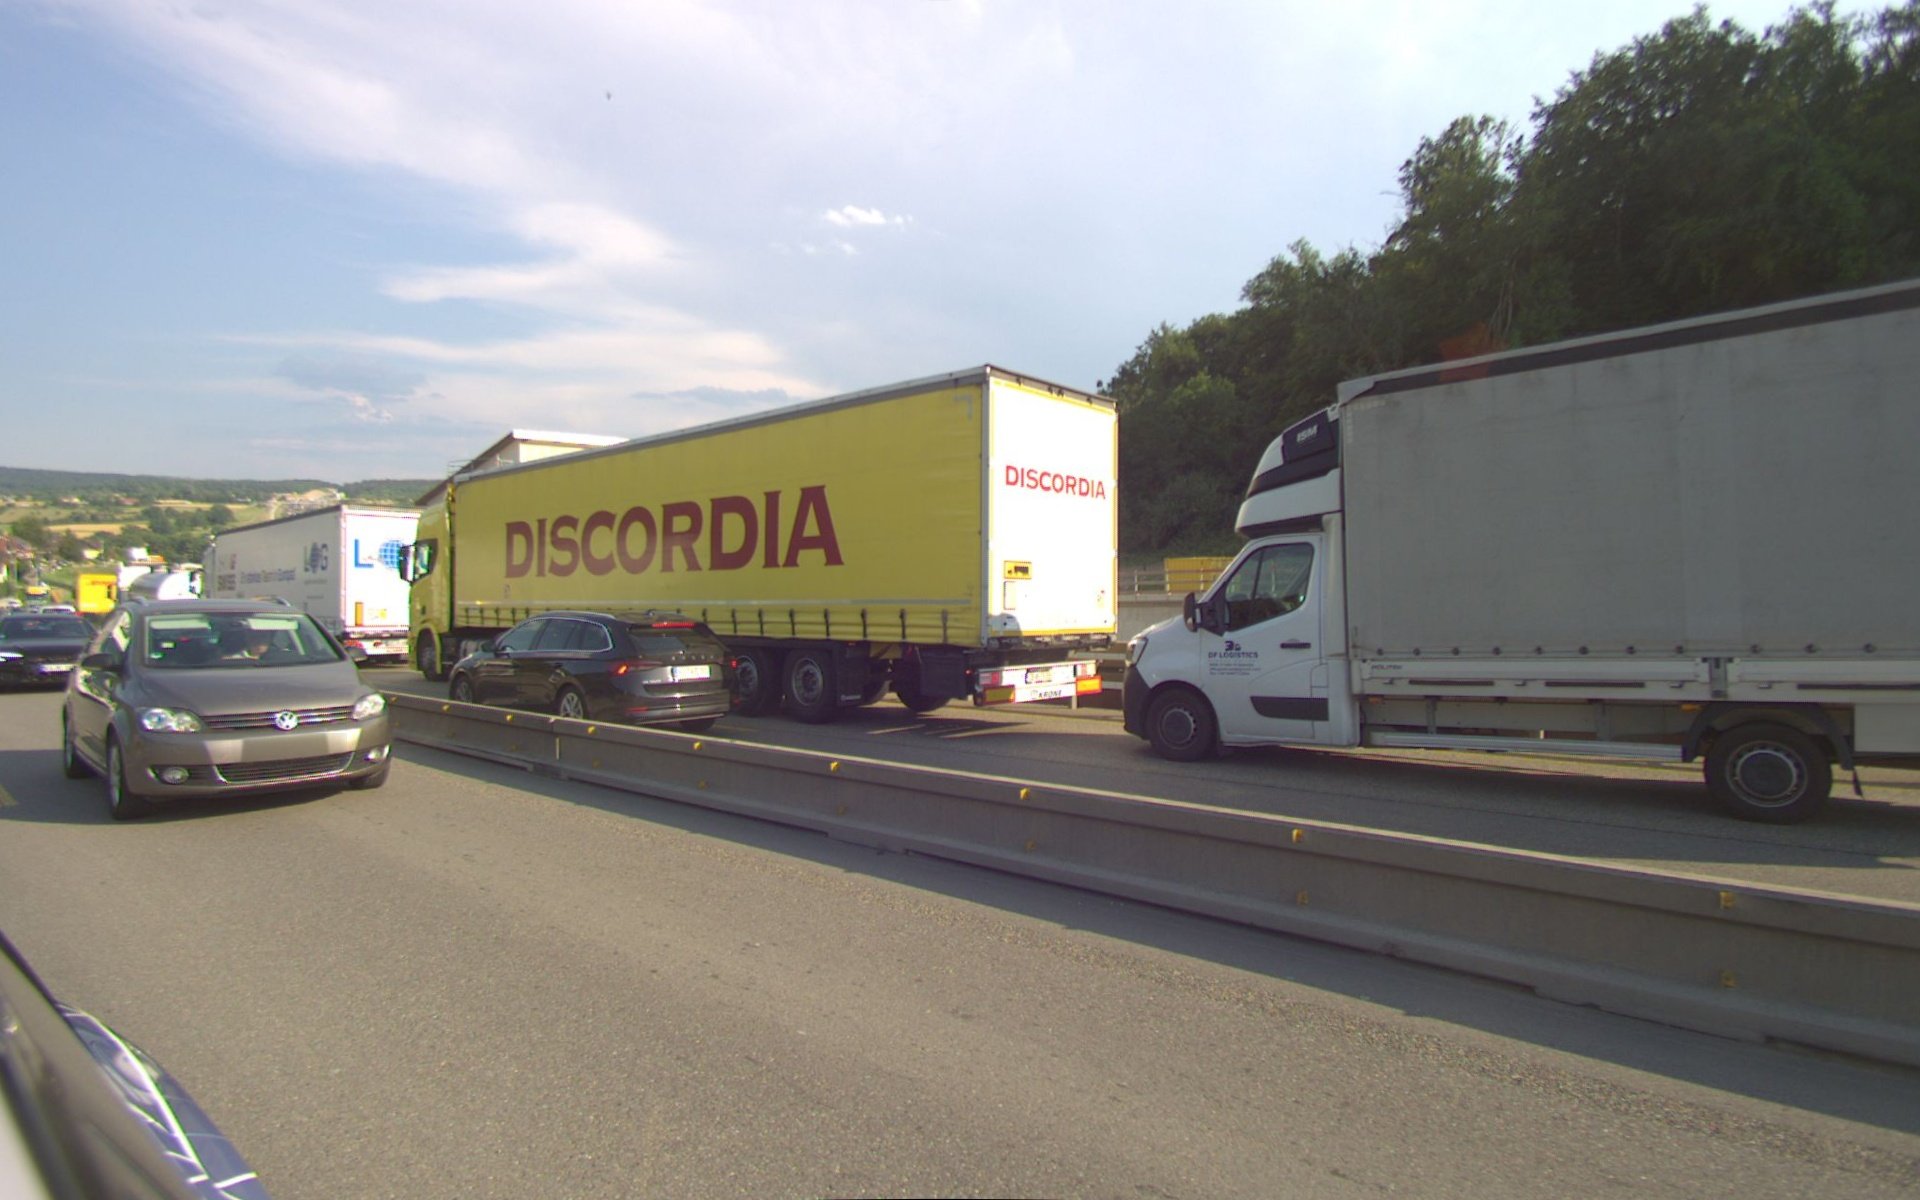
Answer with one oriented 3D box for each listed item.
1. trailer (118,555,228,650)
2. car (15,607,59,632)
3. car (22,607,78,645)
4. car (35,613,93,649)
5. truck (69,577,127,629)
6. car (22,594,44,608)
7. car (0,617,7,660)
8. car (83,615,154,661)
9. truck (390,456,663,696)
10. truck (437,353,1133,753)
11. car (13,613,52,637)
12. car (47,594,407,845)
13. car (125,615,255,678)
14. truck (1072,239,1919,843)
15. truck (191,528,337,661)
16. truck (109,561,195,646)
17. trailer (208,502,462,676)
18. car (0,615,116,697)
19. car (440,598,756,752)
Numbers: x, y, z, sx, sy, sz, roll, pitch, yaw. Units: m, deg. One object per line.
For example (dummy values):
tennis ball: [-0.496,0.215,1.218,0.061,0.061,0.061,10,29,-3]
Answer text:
trailer: [-36.135,0.140,46.263,10.581,3.910,2.568,-1,-1,44]
car: [-57.050,1.218,62.535,1.773,1.423,4.003,5,-3,-44]
car: [-48.076,1.358,53.448,4.001,1.925,1.842,0,-1,44]
car: [-40.374,1.364,45.574,3.691,1.521,1.639,-1,-1,44]
truck: [-65.322,0.228,76.610,2.859,3.738,9.498,1,-1,-43]
car: [-145.815,0.186,159.169,4.749,2.015,1.799,-2,-4,39]
car: [-32.850,1.301,33.527,4.001,1.409,1.675,-2,0,44]
car: [-29.183,1.266,35.039,1.636,1.440,4.569,0,0,-43]
truck: [-8.877,-0.366,20.417,6.098,4.119,2.685,-1,-1,41]
truck: [-4.040,-0.416,16.117,14.148,4.119,2.679,-1,-1,42]
car: [-63.571,1.699,69.332,4.001,1.541,1.706,0,0,44]
car: [-6.233,0.771,8.412,4.099,1.586,1.665,-1,0,43]
car: [-19.739,1.119,25.878,4.672,1.436,1.789,-1,0,42]
truck: [4.746,-0.314,8.126,7.612,3.489,2.422,-1,-1,41]
truck: [-23.466,-0.138,34.028,6.102,4.066,2.812,-1,-1,43]
truck: [-40.018,0.191,50.067,6.205,3.917,2.570,-1,-1,44]
trailer: [-18.667,-0.197,29.461,13.972,4.066,2.826,-1,-1,44]
car: [-17.668,0.995,19.390,4.001,1.409,1.842,0,-1,44]
car: [-4.440,0.763,12.083,4.284,1.535,1.637,-1,0,40]
